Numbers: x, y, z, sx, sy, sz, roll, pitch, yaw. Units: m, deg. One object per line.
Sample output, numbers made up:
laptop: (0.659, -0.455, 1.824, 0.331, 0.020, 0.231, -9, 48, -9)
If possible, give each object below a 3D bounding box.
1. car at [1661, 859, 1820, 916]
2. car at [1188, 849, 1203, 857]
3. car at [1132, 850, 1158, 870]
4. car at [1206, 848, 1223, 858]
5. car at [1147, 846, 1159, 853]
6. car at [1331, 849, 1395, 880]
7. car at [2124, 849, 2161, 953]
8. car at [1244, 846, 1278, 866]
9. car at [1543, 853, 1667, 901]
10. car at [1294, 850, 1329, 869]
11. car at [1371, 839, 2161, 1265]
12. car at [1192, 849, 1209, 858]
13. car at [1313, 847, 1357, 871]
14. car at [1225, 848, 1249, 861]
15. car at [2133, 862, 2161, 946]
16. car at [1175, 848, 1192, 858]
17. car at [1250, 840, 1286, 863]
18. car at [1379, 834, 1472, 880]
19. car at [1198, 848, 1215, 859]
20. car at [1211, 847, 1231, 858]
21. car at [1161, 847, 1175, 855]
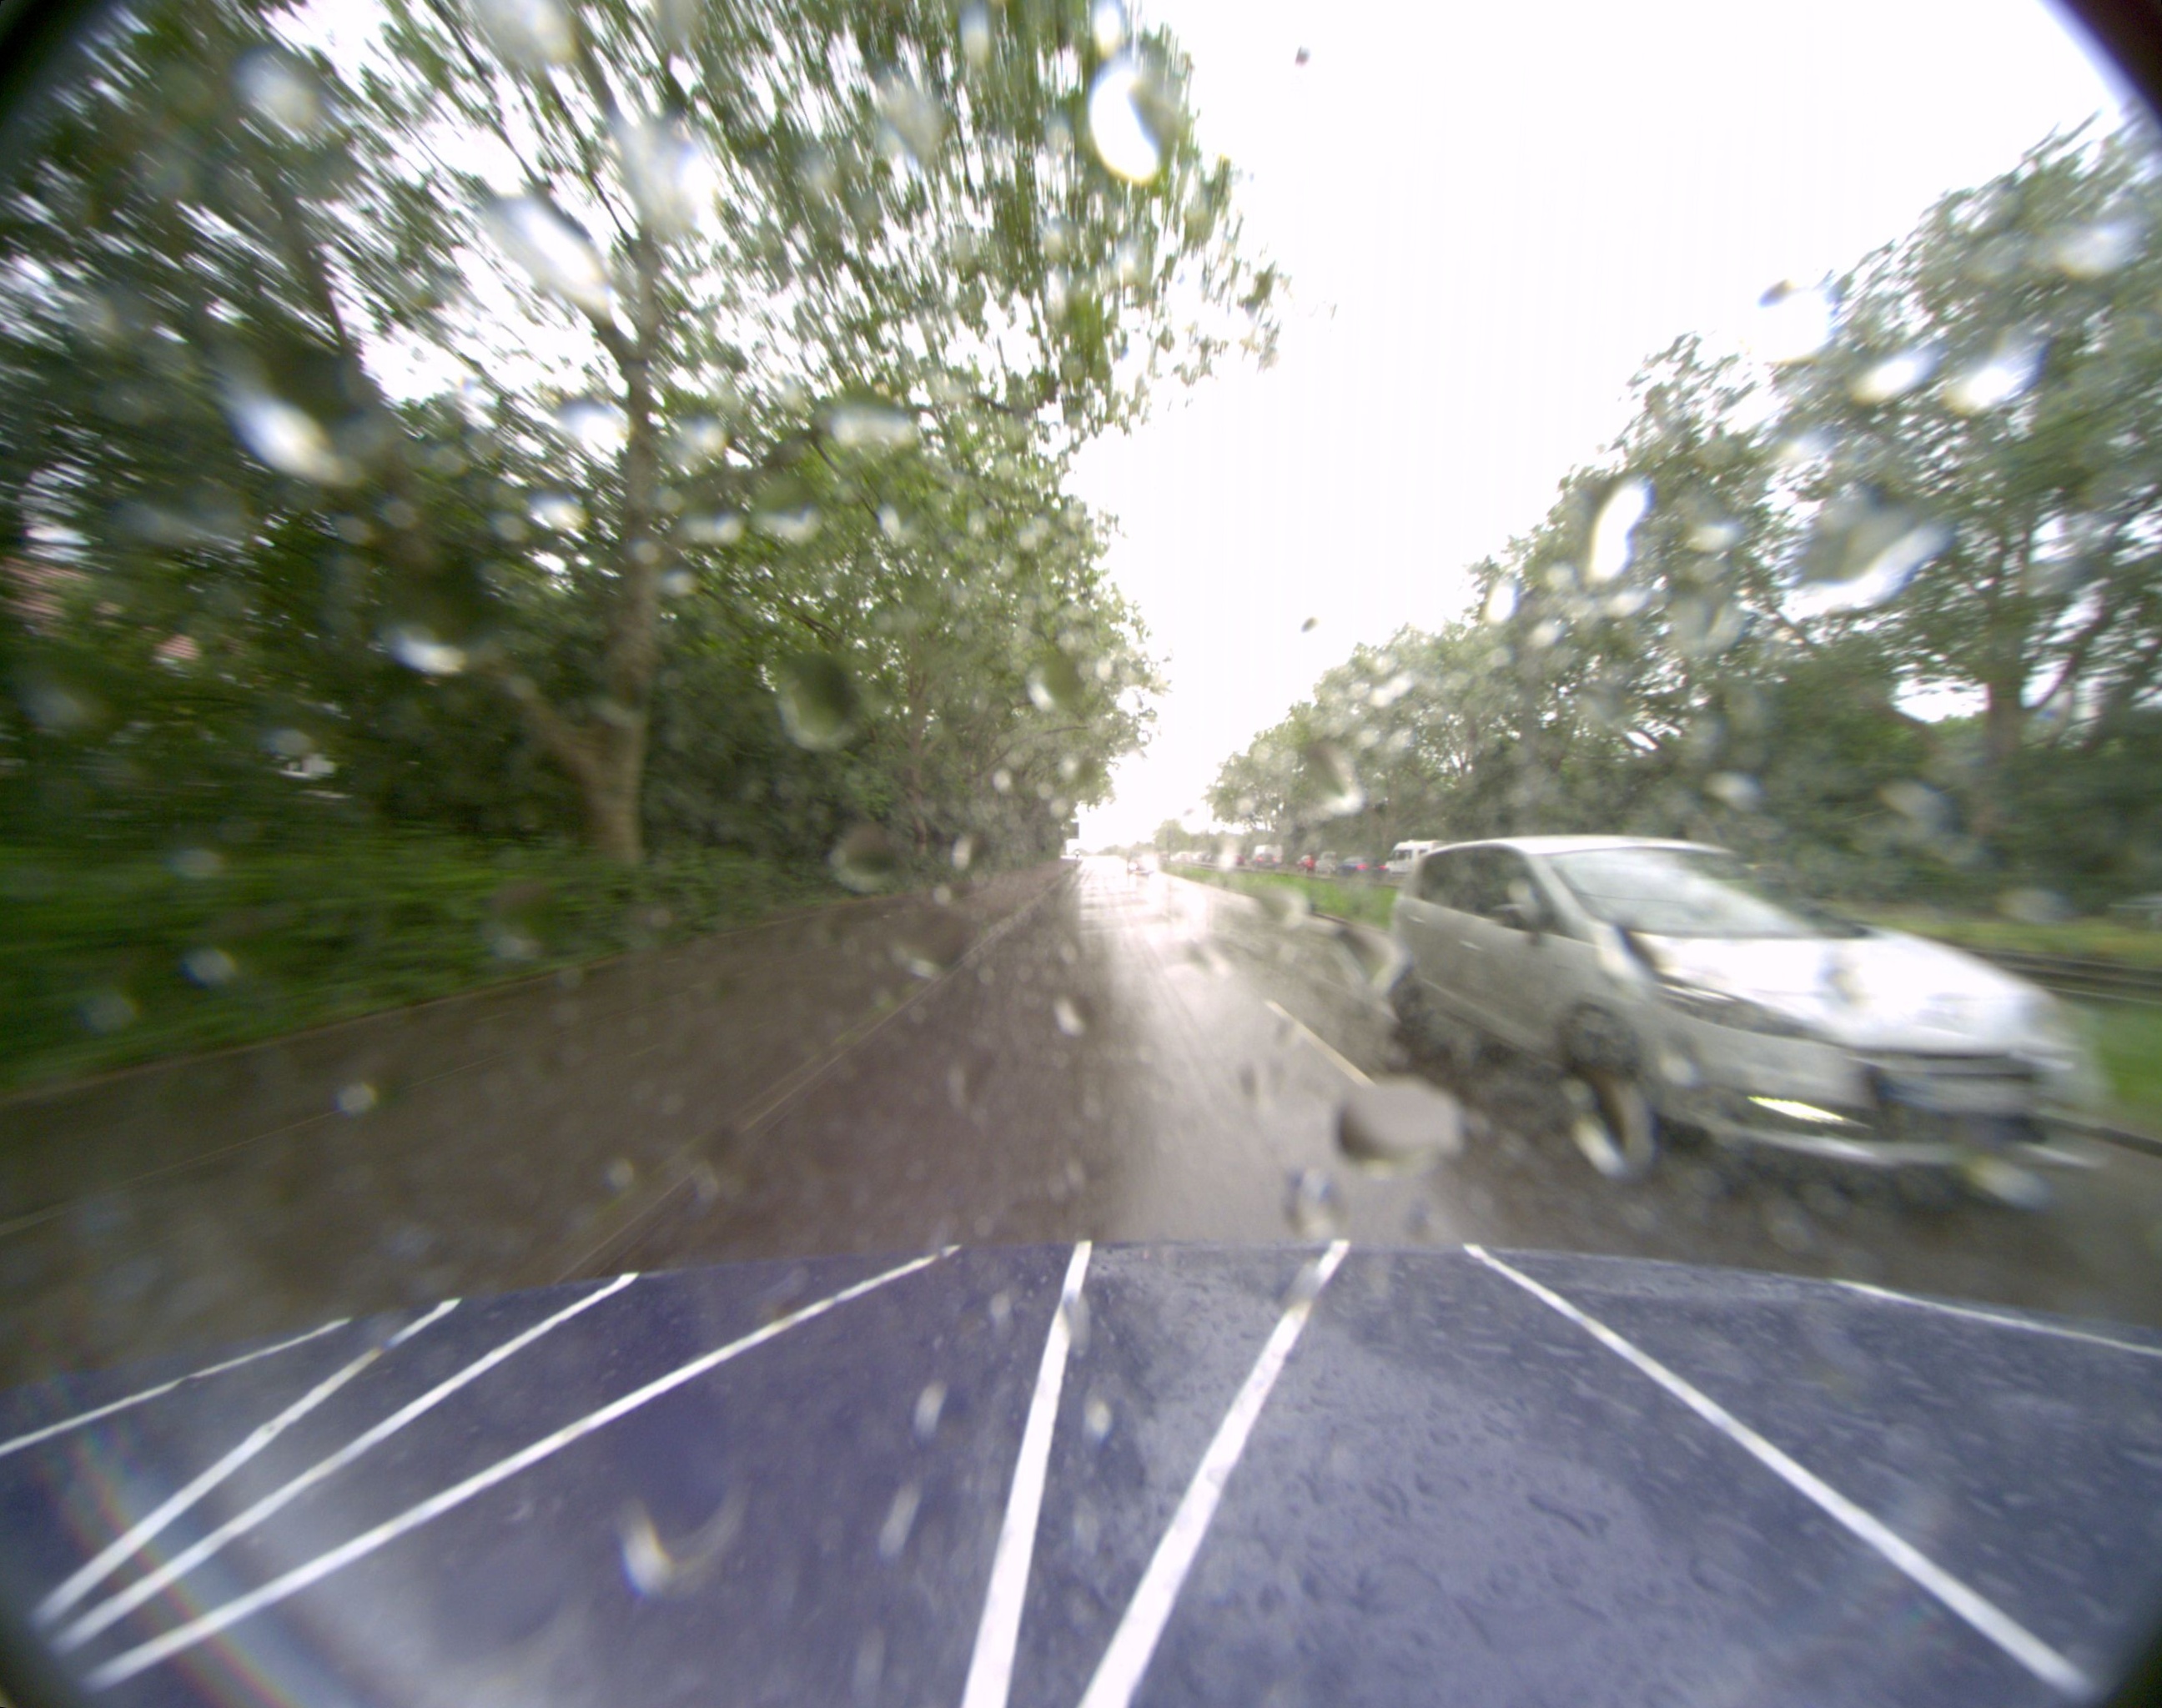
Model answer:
car: (21.458, 1.024, 24.940, 1.766, 1.639, 3.812, 1, 1, -2)
car: (20.121, -0.184, 133.809, 1.653, 1.423, 4.130, 1, 1, -5)
car: (4.785, 0.440, 57.380, 1.726, 1.425, 3.851, 0, 1, 2)
car: (20.207, -0.148, 115.339, 1.890, 1.371, 3.964, 1, 1, -1)
car: (17.025, -1.123, 179.857, 2.039, 1.543, 4.995, 1, 0, -2)
car: (17.233, 0.581, 46.690, 2.037, 1.741, 4.692, 1, 1, -2)
car: (18.183, 0.795, 10.275, 2.019, 1.648, 4.394, 1, 1, -2)
car: (16.687, 0.152, 70.617, 2.037, 1.741, 4.258, 1, 1, -2)
car: (21.052, 0.871, 30.804, 1.755, 1.718, 4.530, 1, 1, -2)
car: (20.477, 0.453, 67.672, 1.822, 1.543, 4.024, 1, 1, 0)
car: (3.587, 0.735, 5.026, 1.869, 1.614, 4.263, -1, 1, 3)
car: (20.084, -0.066, 127.968, 1.890, 1.502, 4.577, 1, 1, -1)
car: (20.557, 0.355, 61.605, 1.962, 1.851, 4.639, 1, 1, 0)
car: (20.304, 0.017, 98.997, 2.039, 1.543, 4.383, 1, 1, -2)
car: (22.135, 1.030, 13.398, 1.766, 1.639, 3.812, 1, 1, -2)
car: (16.964, -0.112, 125.585, 1.983, 1.558, 4.767, 1, 1, -1)
car: (20.492, -0.314, 83.375, 2.335, 2.432, 6.137, 1, 1, -1)
car: (20.721, 0.134, 46.104, 2.396, 2.526, 6.564, 1, 1, -2)
car: (20.075, -0.033, 121.424, 1.890, 1.641, 4.368, 1, 1, -1)
car: (20.293, -0.227, 110.251, 2.039, 1.543, 4.383, 1, 1, -2)
car: (16.737, -0.579, 146.646, 2.038, 1.543, 4.565, -1, 1, 0)
